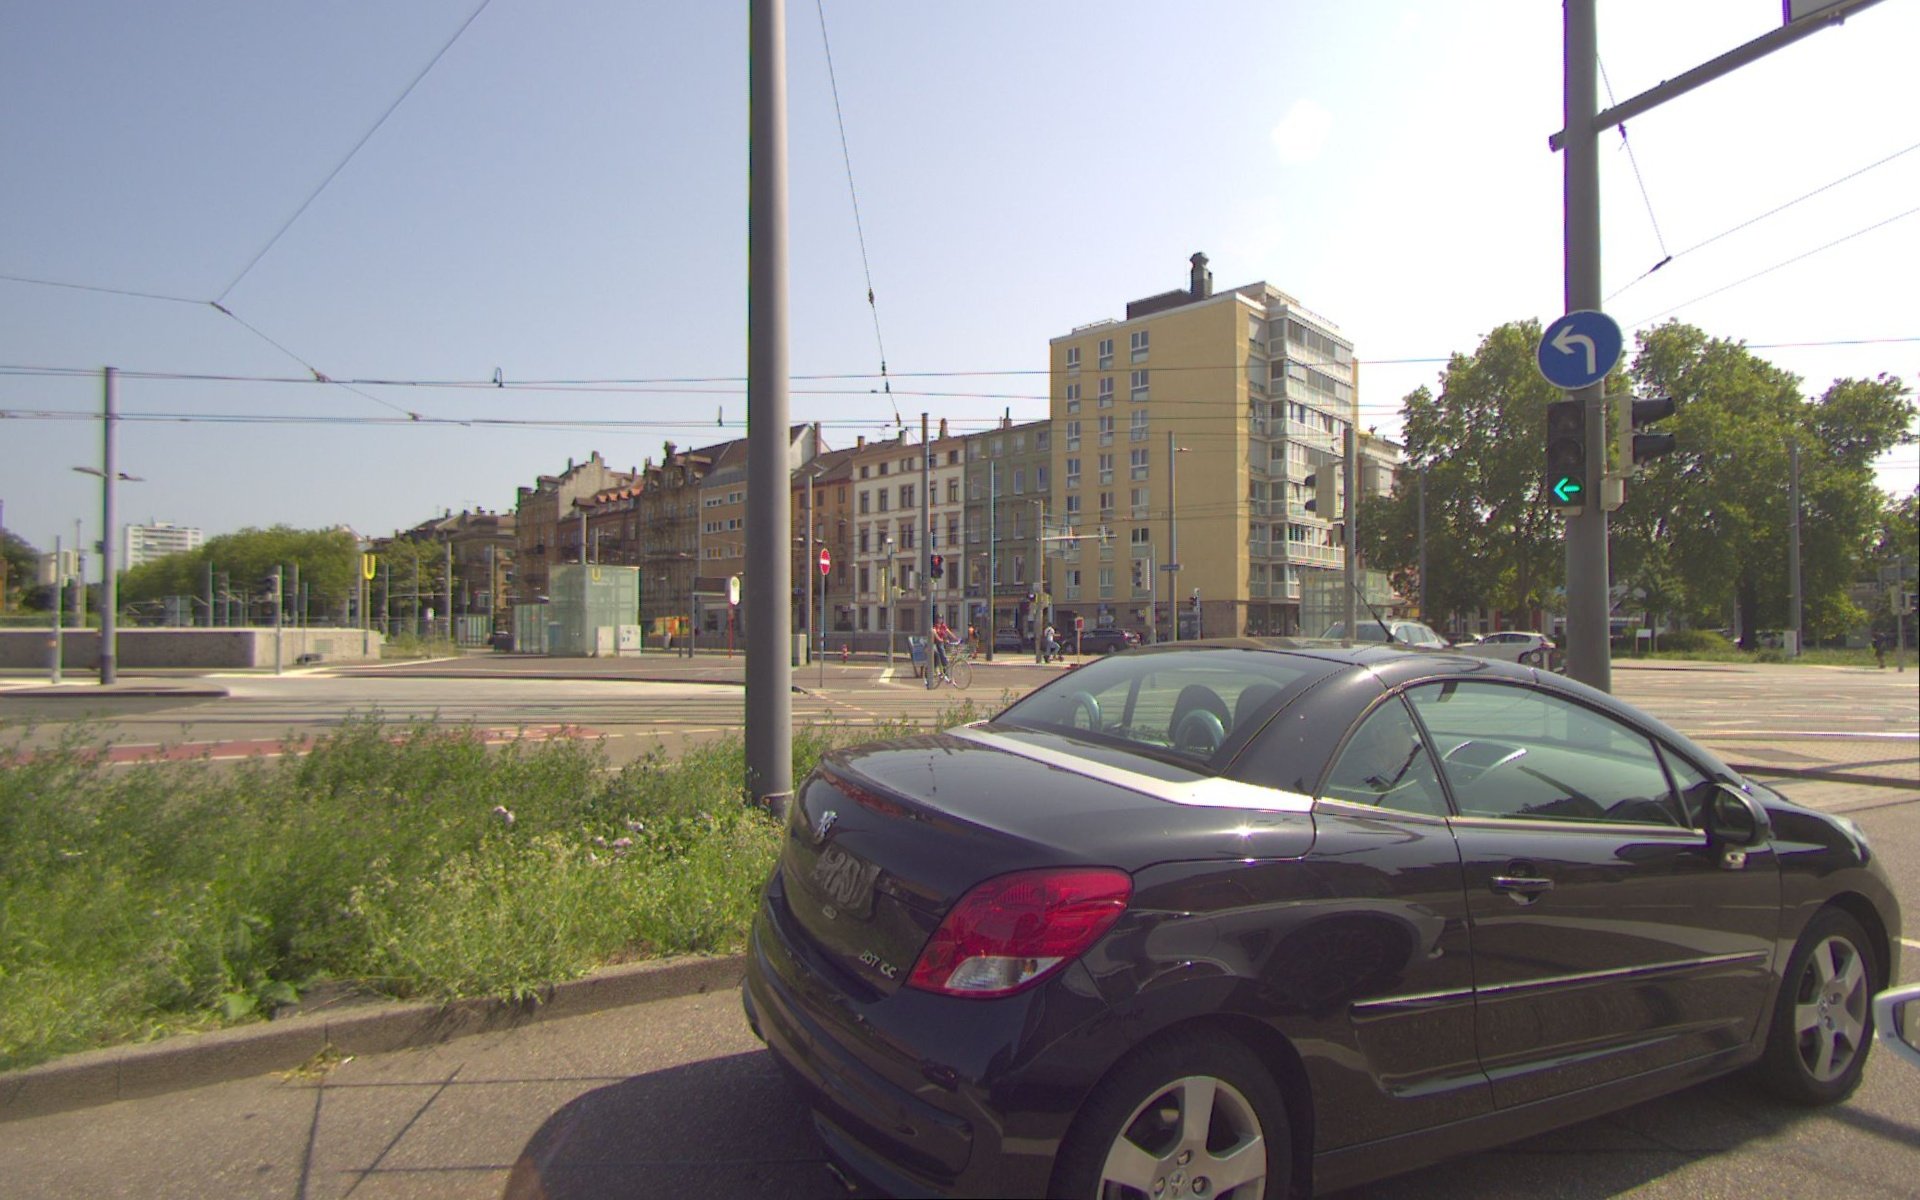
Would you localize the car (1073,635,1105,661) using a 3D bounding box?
[{"bbox_3d":[7.931,2.942,61.909,1.712,1.528,4.002,0,-2,4],"label":"car"}]

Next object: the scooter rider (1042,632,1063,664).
[{"bbox_3d":[4.048,2.107,44.028,0.602,1.371,0.682,1,-2,-34],"label":"scooter rider"}]

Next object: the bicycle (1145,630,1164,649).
[{"bbox_3d":[13.004,2.647,67.201,0.892,1.220,3.265,0,-2,5],"label":"bicycle"}]

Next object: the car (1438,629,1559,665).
[{"bbox_3d":[22.175,1.906,41.437,4.141,1.434,1.767,-1,-2,42],"label":"car"}]

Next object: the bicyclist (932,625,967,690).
[{"bbox_3d":[-0.253,1.357,23.908,0.632,1.529,0.553,1,-2,-36],"label":"bicyclist"}]

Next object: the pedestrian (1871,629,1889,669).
[{"bbox_3d":[39.164,2.083,42.757,0.547,1.706,0.452,-1,-2,42],"label":"pedestrian"}]

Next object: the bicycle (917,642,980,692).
[{"bbox_3d":[-0.289,1.573,23.797,0.499,1.108,1.918,1,-2,-35],"label":"bicycle"}]

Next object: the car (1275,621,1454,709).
[{"bbox_3d":[8.398,1.255,20.660,4.512,1.621,1.749,2,-2,-44],"label":"car"}]

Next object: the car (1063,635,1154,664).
[{"bbox_3d":[7.925,2.640,53.917,4.700,1.434,1.767,-1,-2,42],"label":"car"}]

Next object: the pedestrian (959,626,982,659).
[{"bbox_3d":[0.492,2.021,47.941,0.733,1.563,0.853,-1,-2,44],"label":"pedestrian"}]

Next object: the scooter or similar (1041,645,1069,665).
[{"bbox_3d":[4.162,2.402,43.966,1.132,0.835,0.517,1,-2,-35],"label":"scooter or similar"}]

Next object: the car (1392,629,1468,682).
[{"bbox_3d":[15.055,1.738,32.338,1.704,1.581,4.210,0,-2,18],"label":"car"}]

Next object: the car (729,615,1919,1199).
[{"bbox_3d":[1.307,0.790,3.293,3.731,1.406,1.760,1,0,-26],"label":"car"}]
